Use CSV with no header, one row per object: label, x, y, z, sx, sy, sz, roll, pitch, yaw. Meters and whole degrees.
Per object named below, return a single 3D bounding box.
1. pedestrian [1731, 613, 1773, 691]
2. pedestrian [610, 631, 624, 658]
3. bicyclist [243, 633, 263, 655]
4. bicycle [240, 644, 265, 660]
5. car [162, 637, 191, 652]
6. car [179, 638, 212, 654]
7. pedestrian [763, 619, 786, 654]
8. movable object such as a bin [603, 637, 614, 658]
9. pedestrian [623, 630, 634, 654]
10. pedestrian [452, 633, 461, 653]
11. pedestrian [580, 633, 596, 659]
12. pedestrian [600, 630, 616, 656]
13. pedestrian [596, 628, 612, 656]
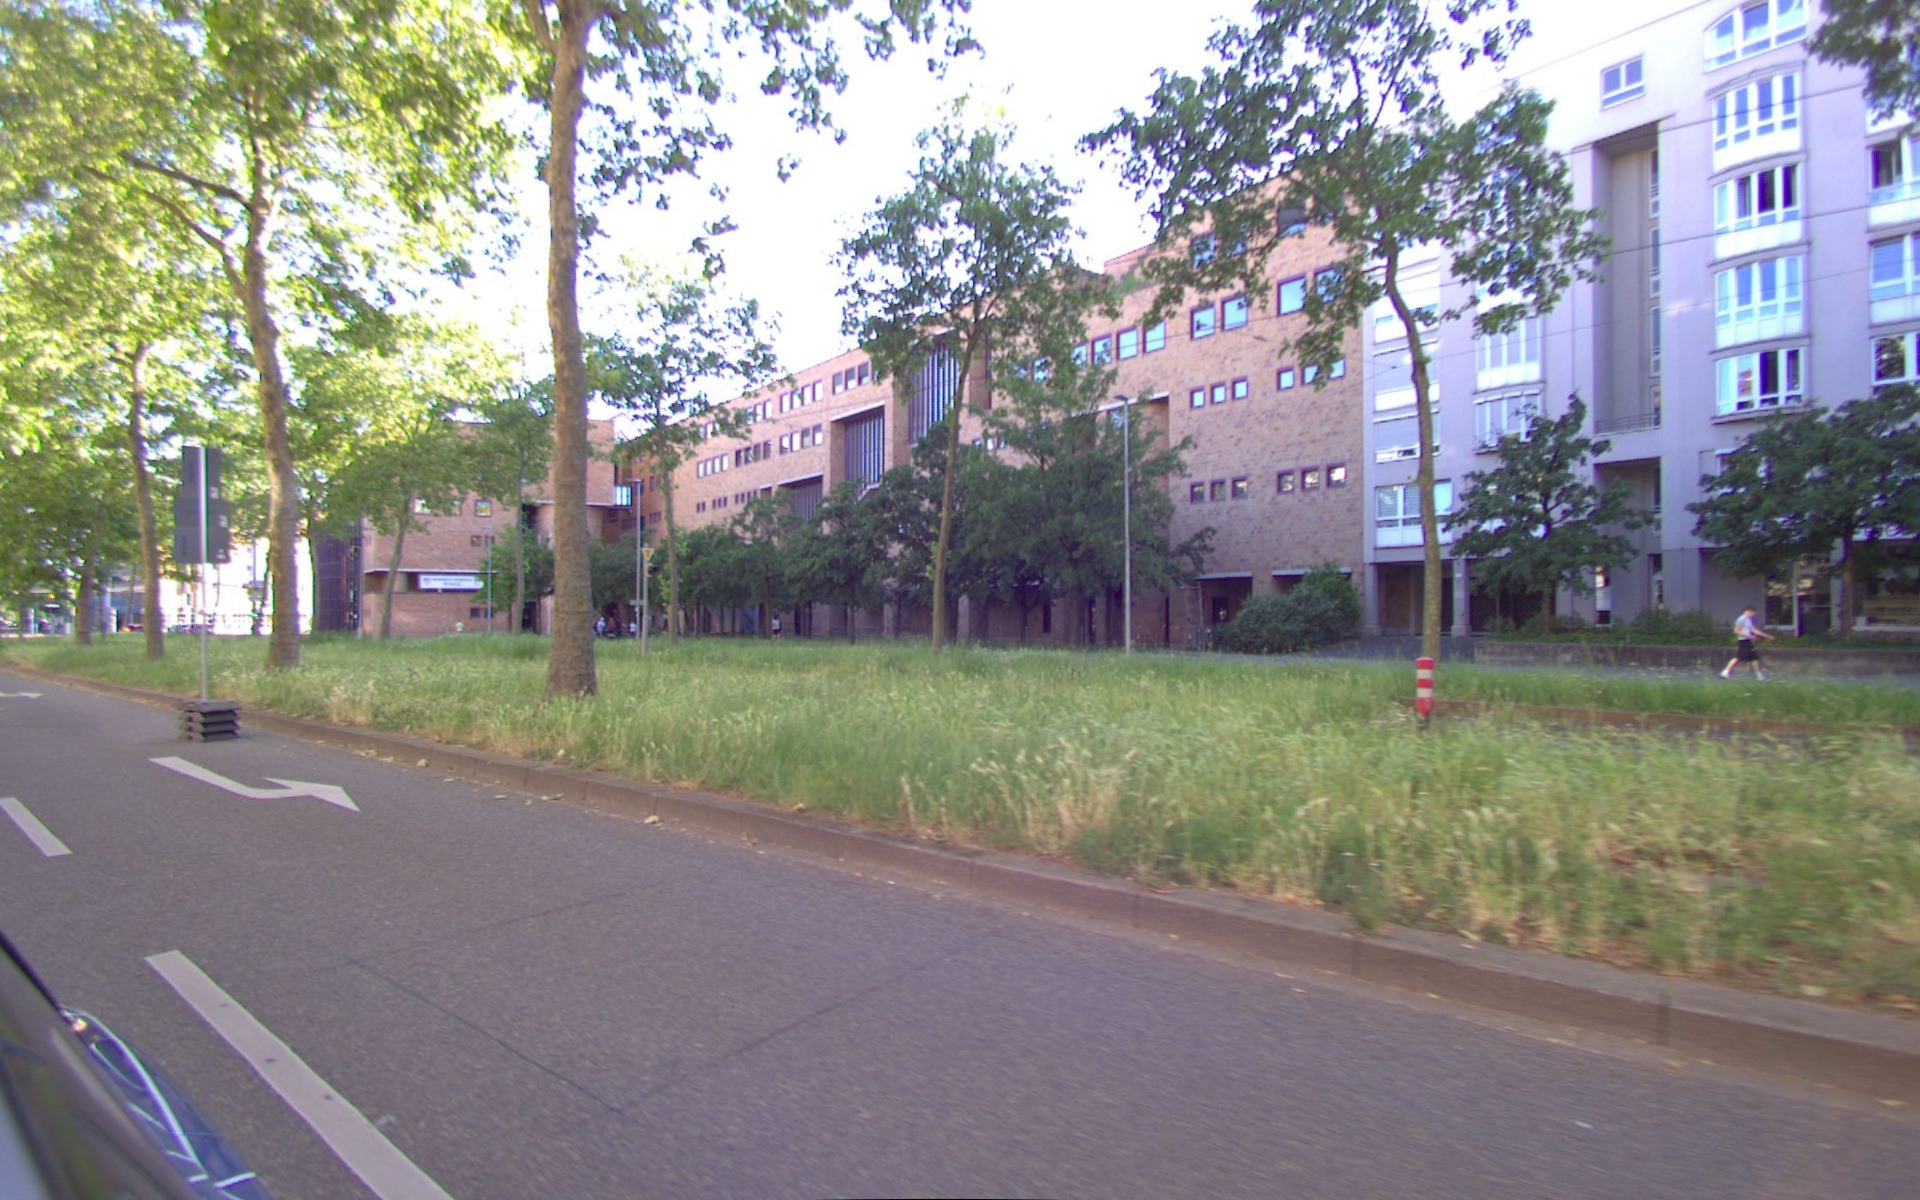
pedestrian,18.264,1.197,23.339,0.720,1.753,0.648,2,-3,-45
pedestrian,-21.694,2.828,64.063,0.596,1.692,0.604,-2,-3,41
bicyclist,-51.550,3.182,73.742,1.209,1.583,0.931,-2,-3,42
bicycle,-51.546,3.789,73.737,2.436,1.134,0.946,-1,-2,42
car,-76.056,4.313,98.282,3.219,1.440,1.596,-2,-3,41
car,-71.289,4.252,94.345,4.147,1.440,1.653,-2,-3,41
pedestrian,-9.729,1.919,53.015,0.895,1.845,0.820,-1,-2,22
movable object such as a bin,-21.717,2.958,62.531,0.756,1.289,0.352,-2,-3,41
pedestrian,-21.032,2.663,64.197,0.463,1.517,0.477,-2,-3,45
pedestrian,-38.960,3.307,78.258,0.653,1.555,0.412,-2,-3,44
pedestrian,-23.555,2.895,64.123,0.756,1.629,0.657,-2,-3,41
pedestrian,-22.092,2.721,63.602,0.756,1.629,0.657,-2,-3,41
pedestrian,-22.218,2.626,63.157,0.796,1.735,0.657,-2,-3,41
